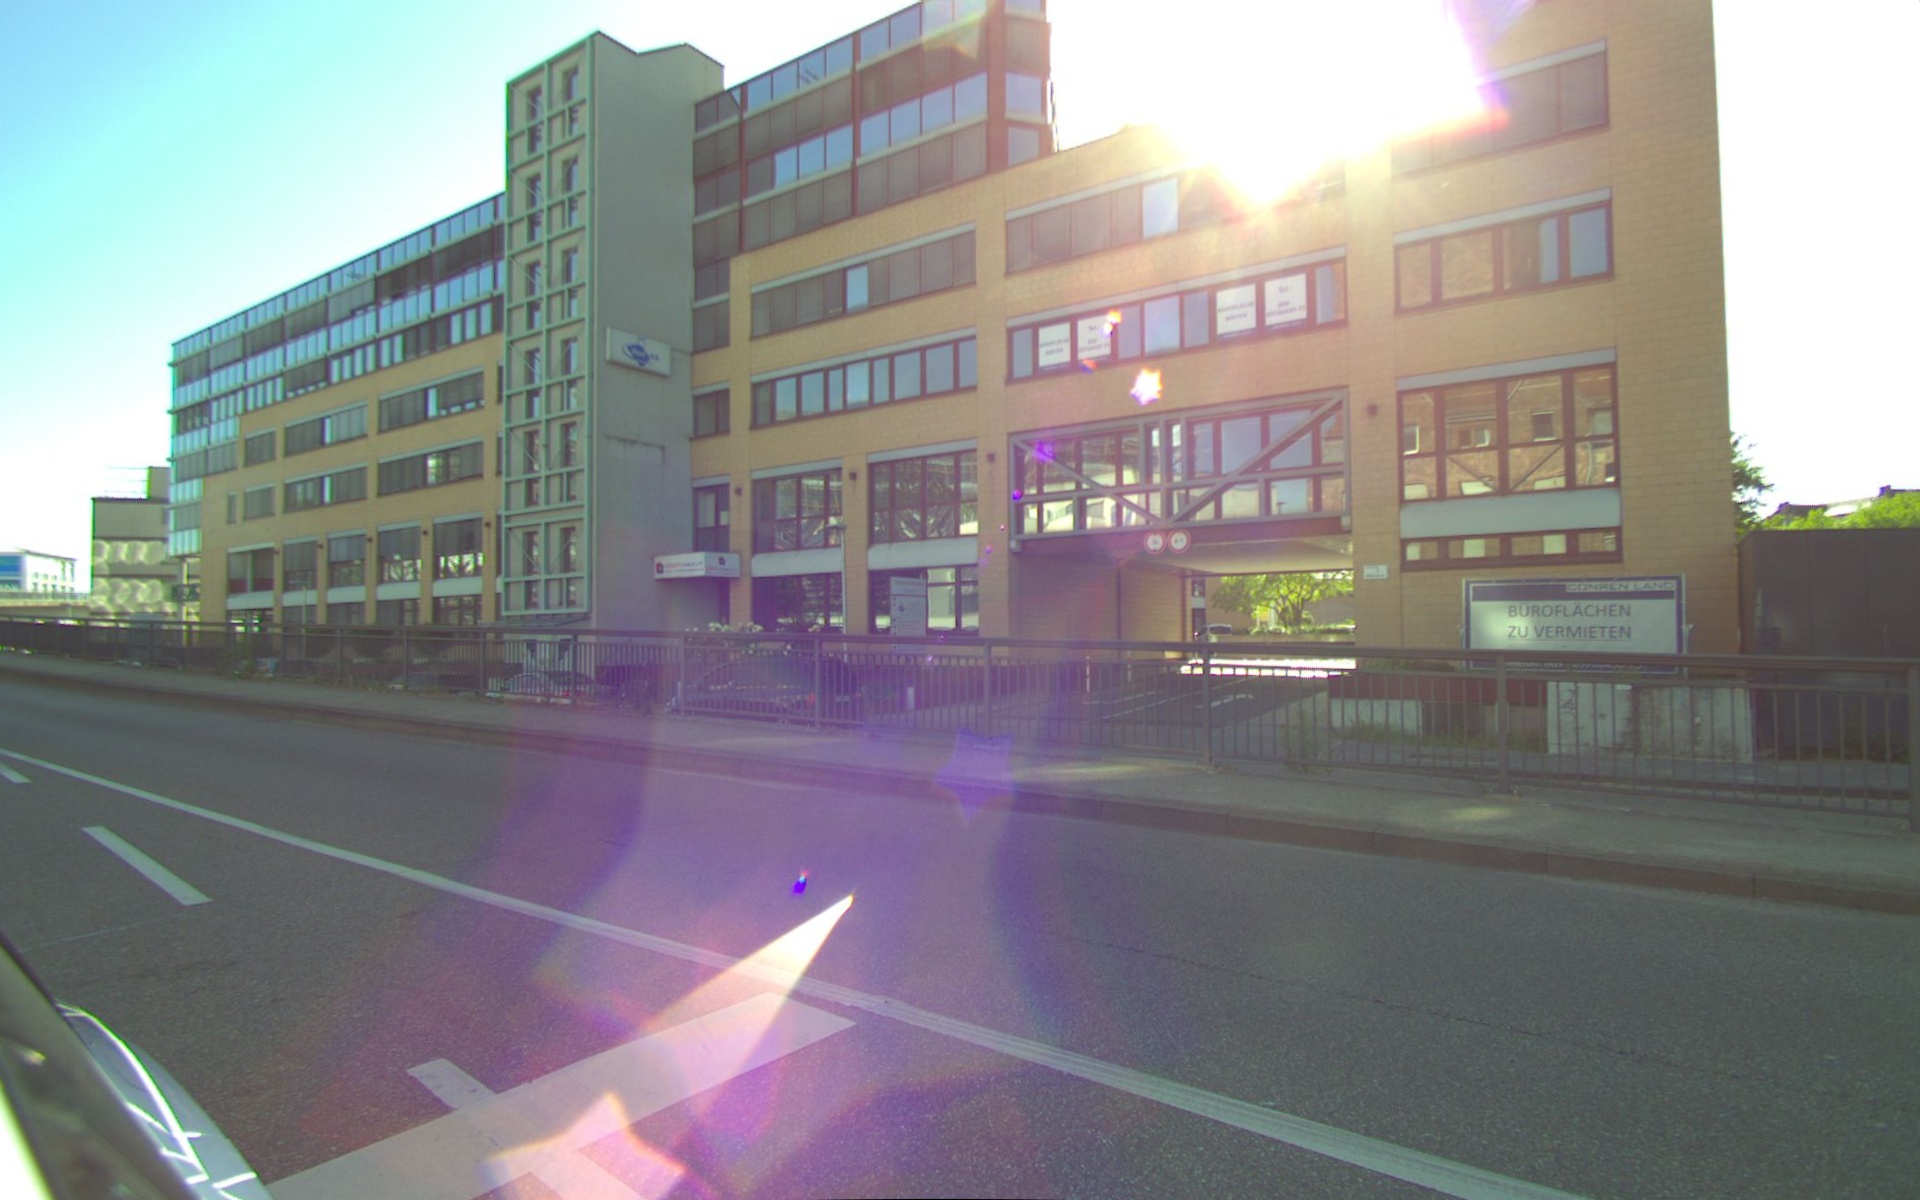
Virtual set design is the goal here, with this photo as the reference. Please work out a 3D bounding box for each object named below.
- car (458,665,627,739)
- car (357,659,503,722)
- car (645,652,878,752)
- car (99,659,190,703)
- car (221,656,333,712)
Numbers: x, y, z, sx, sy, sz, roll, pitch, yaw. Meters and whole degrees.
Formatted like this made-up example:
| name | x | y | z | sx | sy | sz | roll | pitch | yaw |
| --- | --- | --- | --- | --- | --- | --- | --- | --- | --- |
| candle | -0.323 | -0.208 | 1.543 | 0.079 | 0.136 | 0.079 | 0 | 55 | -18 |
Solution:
| name | x | y | z | sx | sy | sz | roll | pitch | yaw |
| --- | --- | --- | --- | --- | --- | --- | --- | --- | --- |
| car | -10.409 | 2.459 | 25.125 | 4.346 | 1.616 | 1.805 | -2 | -3 | 35 |
| car | -14.924 | 2.471 | 28.427 | 4.346 | 1.616 | 1.805 | -2 | -3 | 35 |
| car | -4.116 | 1.994 | 20.737 | 4.674 | 1.771 | 1.935 | -2 | -2 | 33 |
| car | -33.095 | 3.235 | 41.048 | 3.994 | 1.675 | 1.975 | -2 | -3 | 38 |
| car | -23.200 | 2.791 | 34.337 | 3.994 | 1.737 | 1.975 | -2 | -3 | 38 |
